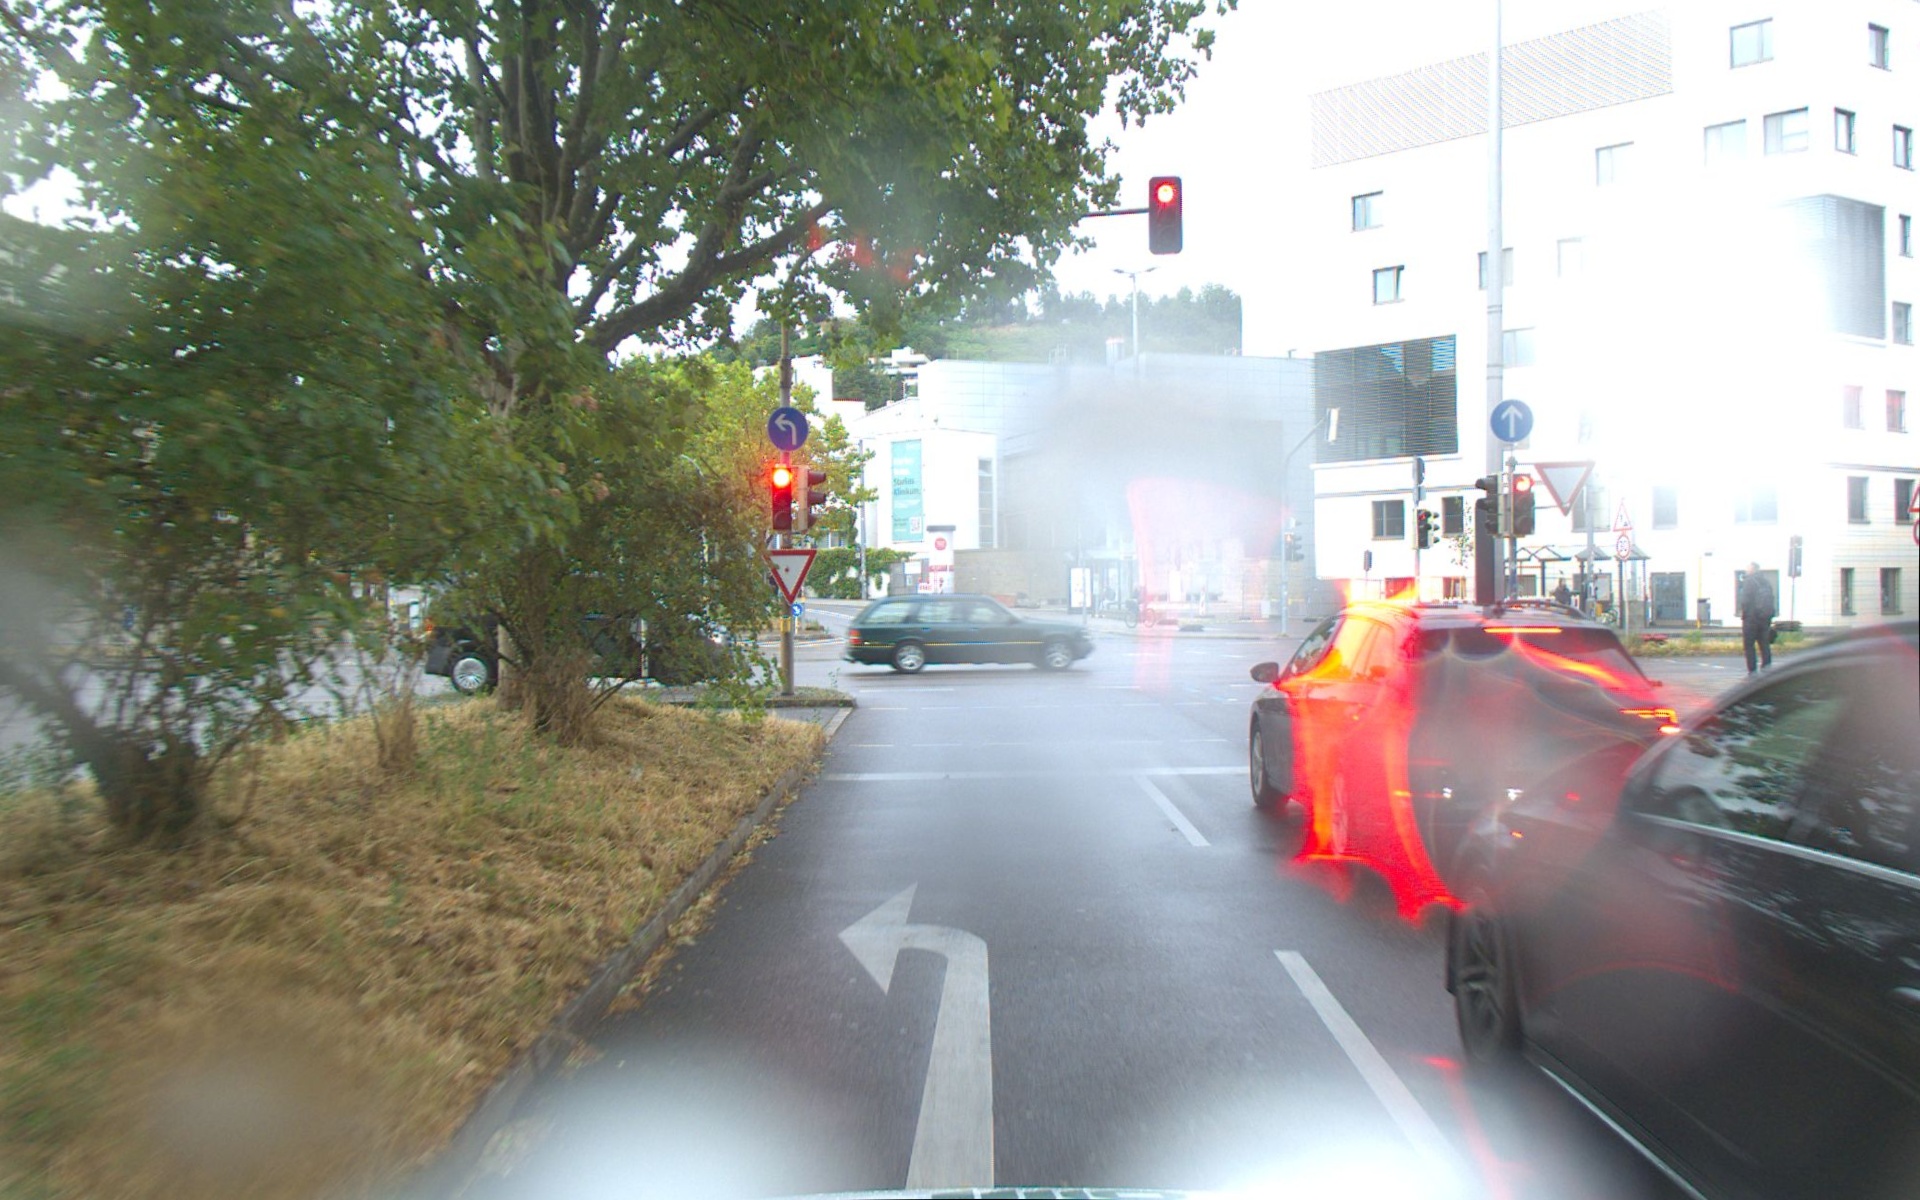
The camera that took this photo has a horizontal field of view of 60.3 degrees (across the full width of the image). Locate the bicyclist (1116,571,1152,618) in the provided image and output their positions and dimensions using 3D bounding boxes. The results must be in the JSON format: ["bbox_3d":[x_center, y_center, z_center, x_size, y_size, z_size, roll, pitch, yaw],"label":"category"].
[{"bbox_3d":[6.324,-0.187,59.998,1.114,1.661,0.694,2,-1,-33],"label":"bicyclist"}]

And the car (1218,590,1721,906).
[{"bbox_3d":[2.861,0.709,10.380,1.636,1.491,4.511,0,1,-2],"label":"car"}]

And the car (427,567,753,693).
[{"bbox_3d":[-5.794,0.449,26.314,4.672,1.841,2.001,-1,0,2],"label":"car"}]

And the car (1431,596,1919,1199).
[{"bbox_3d":[2.475,0.743,3.300,1.840,1.471,4.932,1,0,2],"label":"car"}]

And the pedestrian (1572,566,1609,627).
[{"bbox_3d":[20.717,-0.102,54.366,0.980,1.969,0.955,1,-1,10],"label":"pedestrian"}]

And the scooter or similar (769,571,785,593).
[{"bbox_3d":[-10.530,-1.033,95.120,0.582,1.260,1.306,1,-1,-20],"label":"scooter or similar"}]

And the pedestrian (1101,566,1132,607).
[{"bbox_3d":[6.813,-0.591,72.118,1.232,1.749,1.016,1,-1,-1],"label":"pedestrian"}]

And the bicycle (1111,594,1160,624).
[{"bbox_3d":[6.365,0.339,60.030,1.799,1.075,0.640,0,-1,-34],"label":"bicycle"}]

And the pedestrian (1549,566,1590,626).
[{"bbox_3d":[19.345,-0.117,52.522,0.934,1.872,0.821,1,-1,-11],"label":"pedestrian"}]

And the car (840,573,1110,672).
[{"bbox_3d":[0.225,0.407,31.155,4.860,1.702,1.997,-1,0,-7],"label":"car"}]

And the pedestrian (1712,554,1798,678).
[{"bbox_3d":[12.706,0.262,26.454,0.812,1.925,1.025,1,-1,-8],"label":"pedestrian"}]
